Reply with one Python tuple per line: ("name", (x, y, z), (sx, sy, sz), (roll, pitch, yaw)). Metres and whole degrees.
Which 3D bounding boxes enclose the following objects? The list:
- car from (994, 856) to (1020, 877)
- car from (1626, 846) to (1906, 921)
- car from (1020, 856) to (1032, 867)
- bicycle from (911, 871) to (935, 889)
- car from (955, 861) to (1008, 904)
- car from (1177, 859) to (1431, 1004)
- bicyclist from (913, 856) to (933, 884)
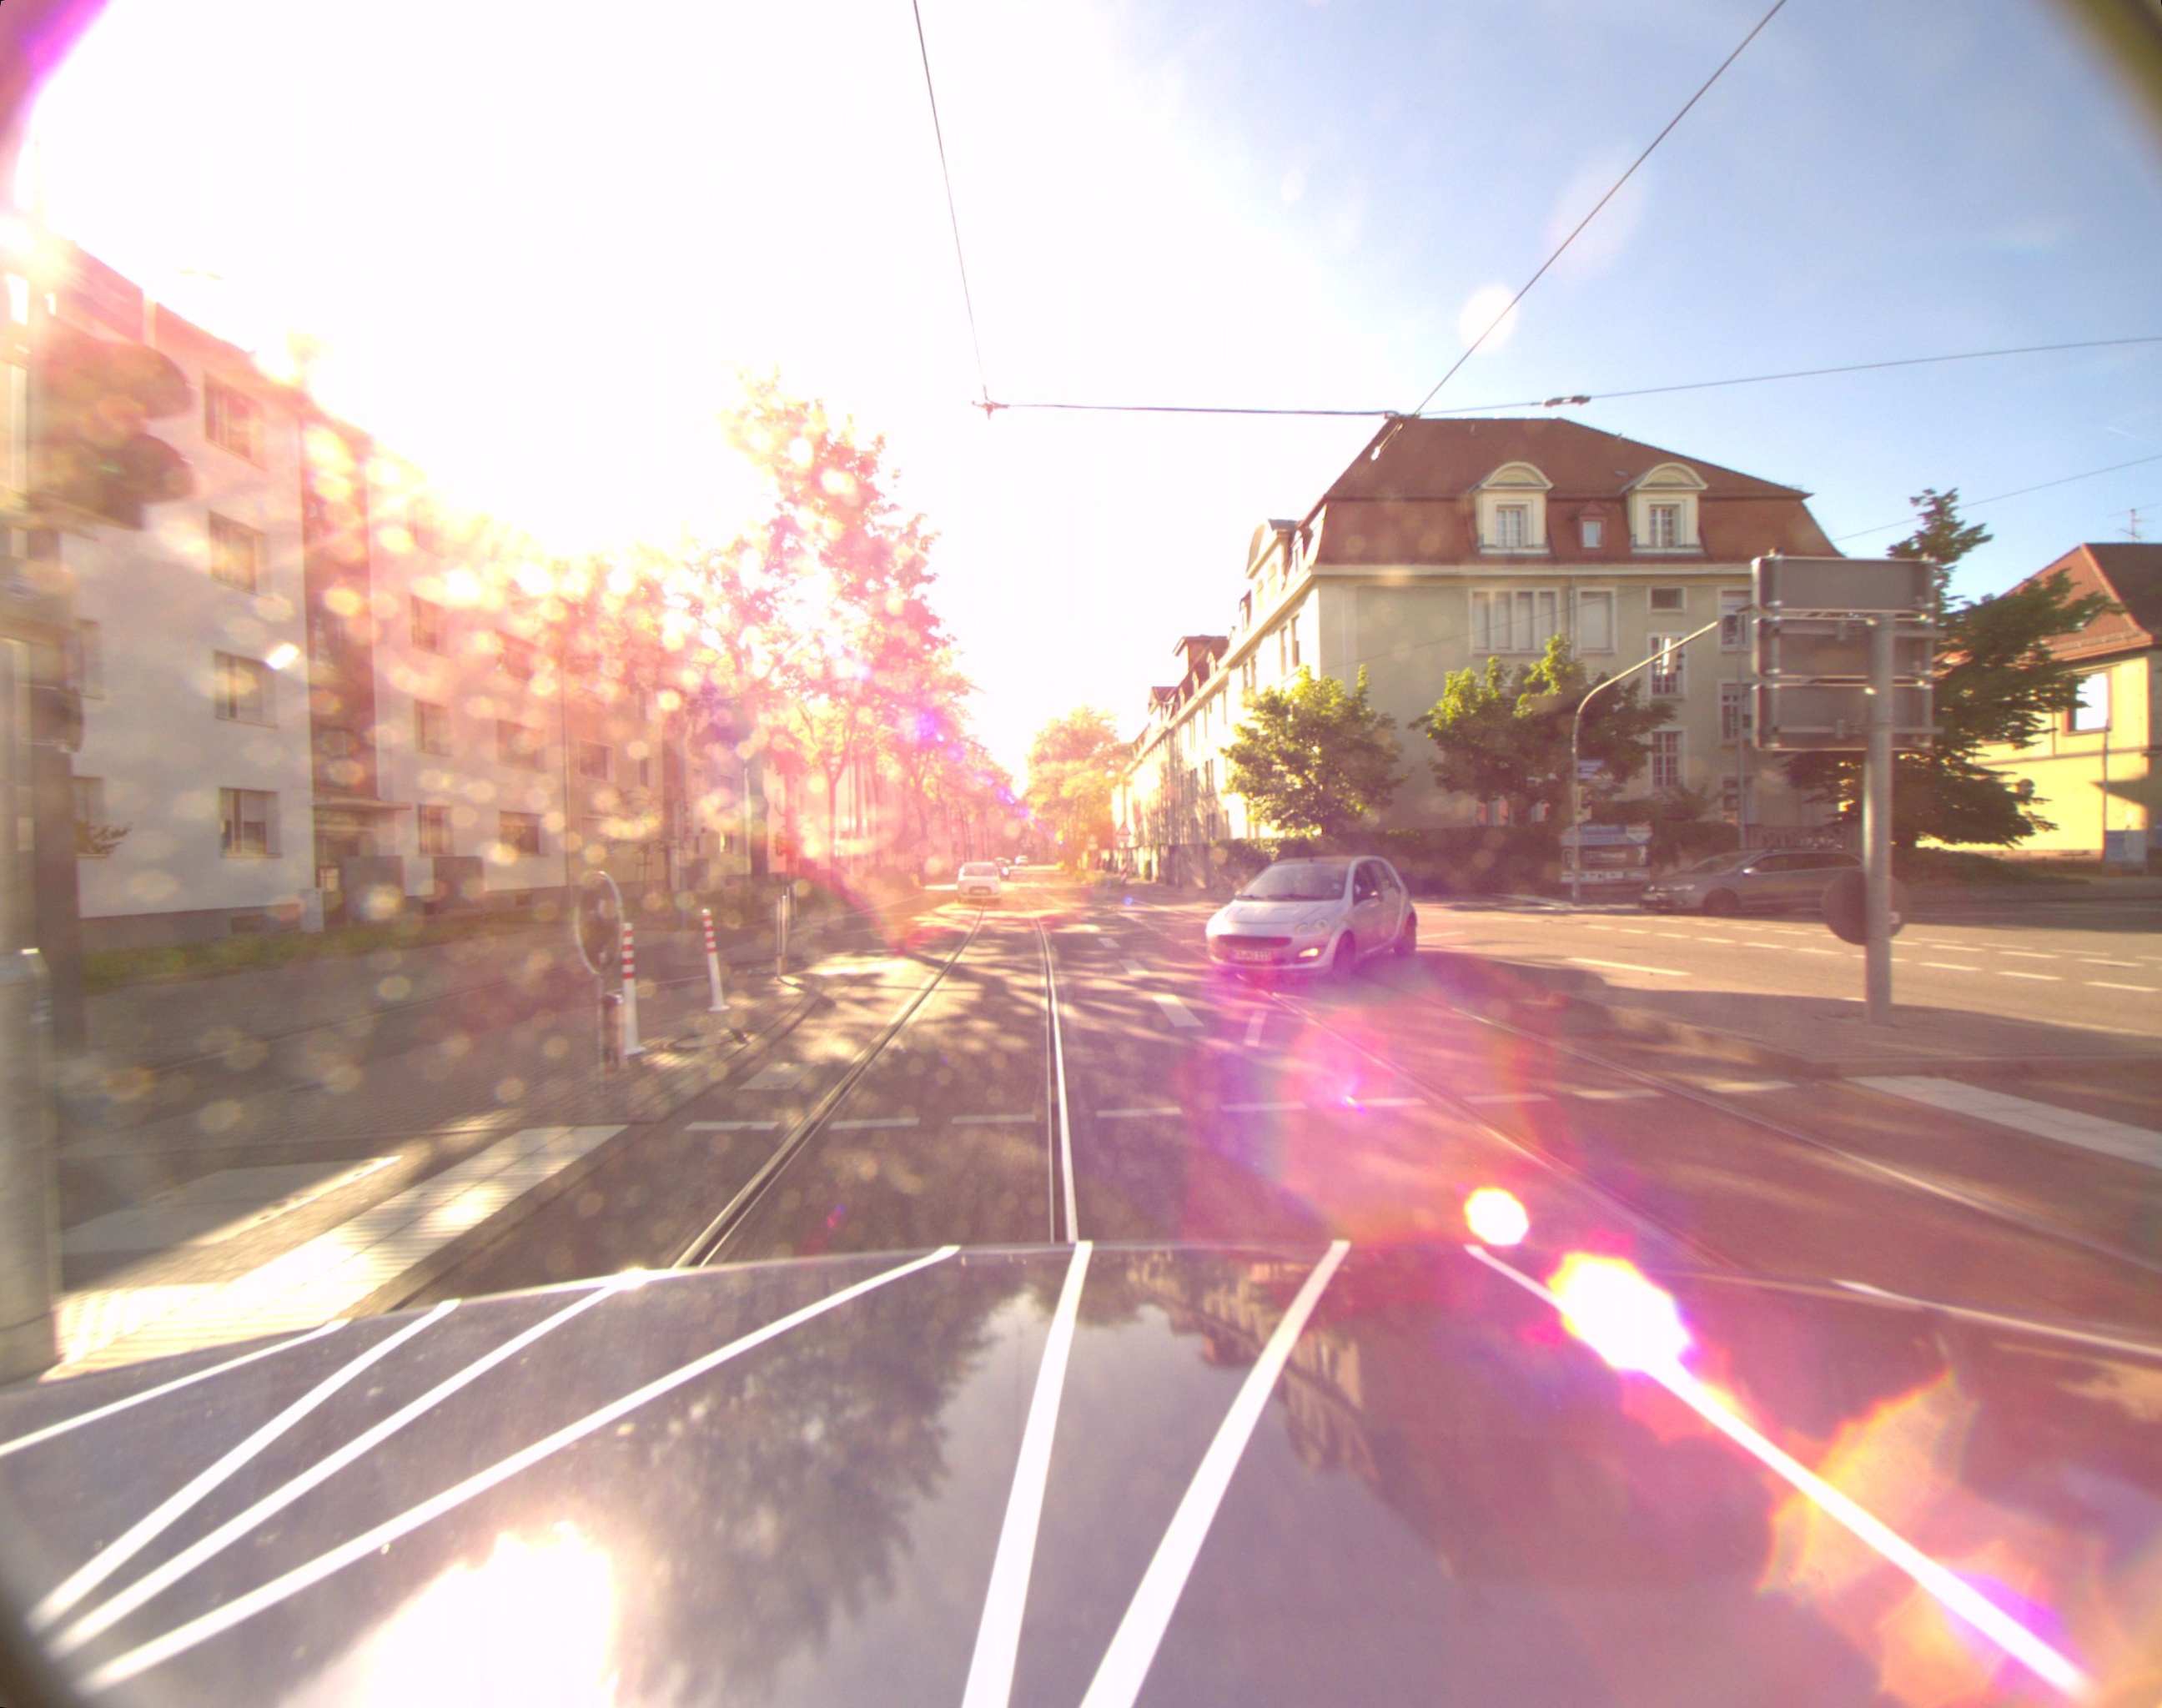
("car", (-5.896, 0.989, 60.308), (1.743, 1.567, 3.690), (-1, 0, -11))
("car", (14.693, 0.606, 16.486), (4.401, 1.450, 1.743), (-1, 0, 2))
("car", (-9.256, 1.211, 126.962), (1.826, 1.751, 3.691), (-3, 1, -6))
("bicycle", (-8.839, 1.443, 42.513), (0.827, 0.880, 2.198), (-1, 0, 1))
("car", (-3.820, 1.006, 28.653), (1.743, 1.450, 3.690), (-1, 0, -11))
("car", (3.054, 0.833, 9.945), (1.738, 1.450, 3.701), (-1, 0, 42))
("bicyclist", (-8.847, 0.892, 42.516), (0.819, 1.491, 1.258), (-1, 0, 1))
